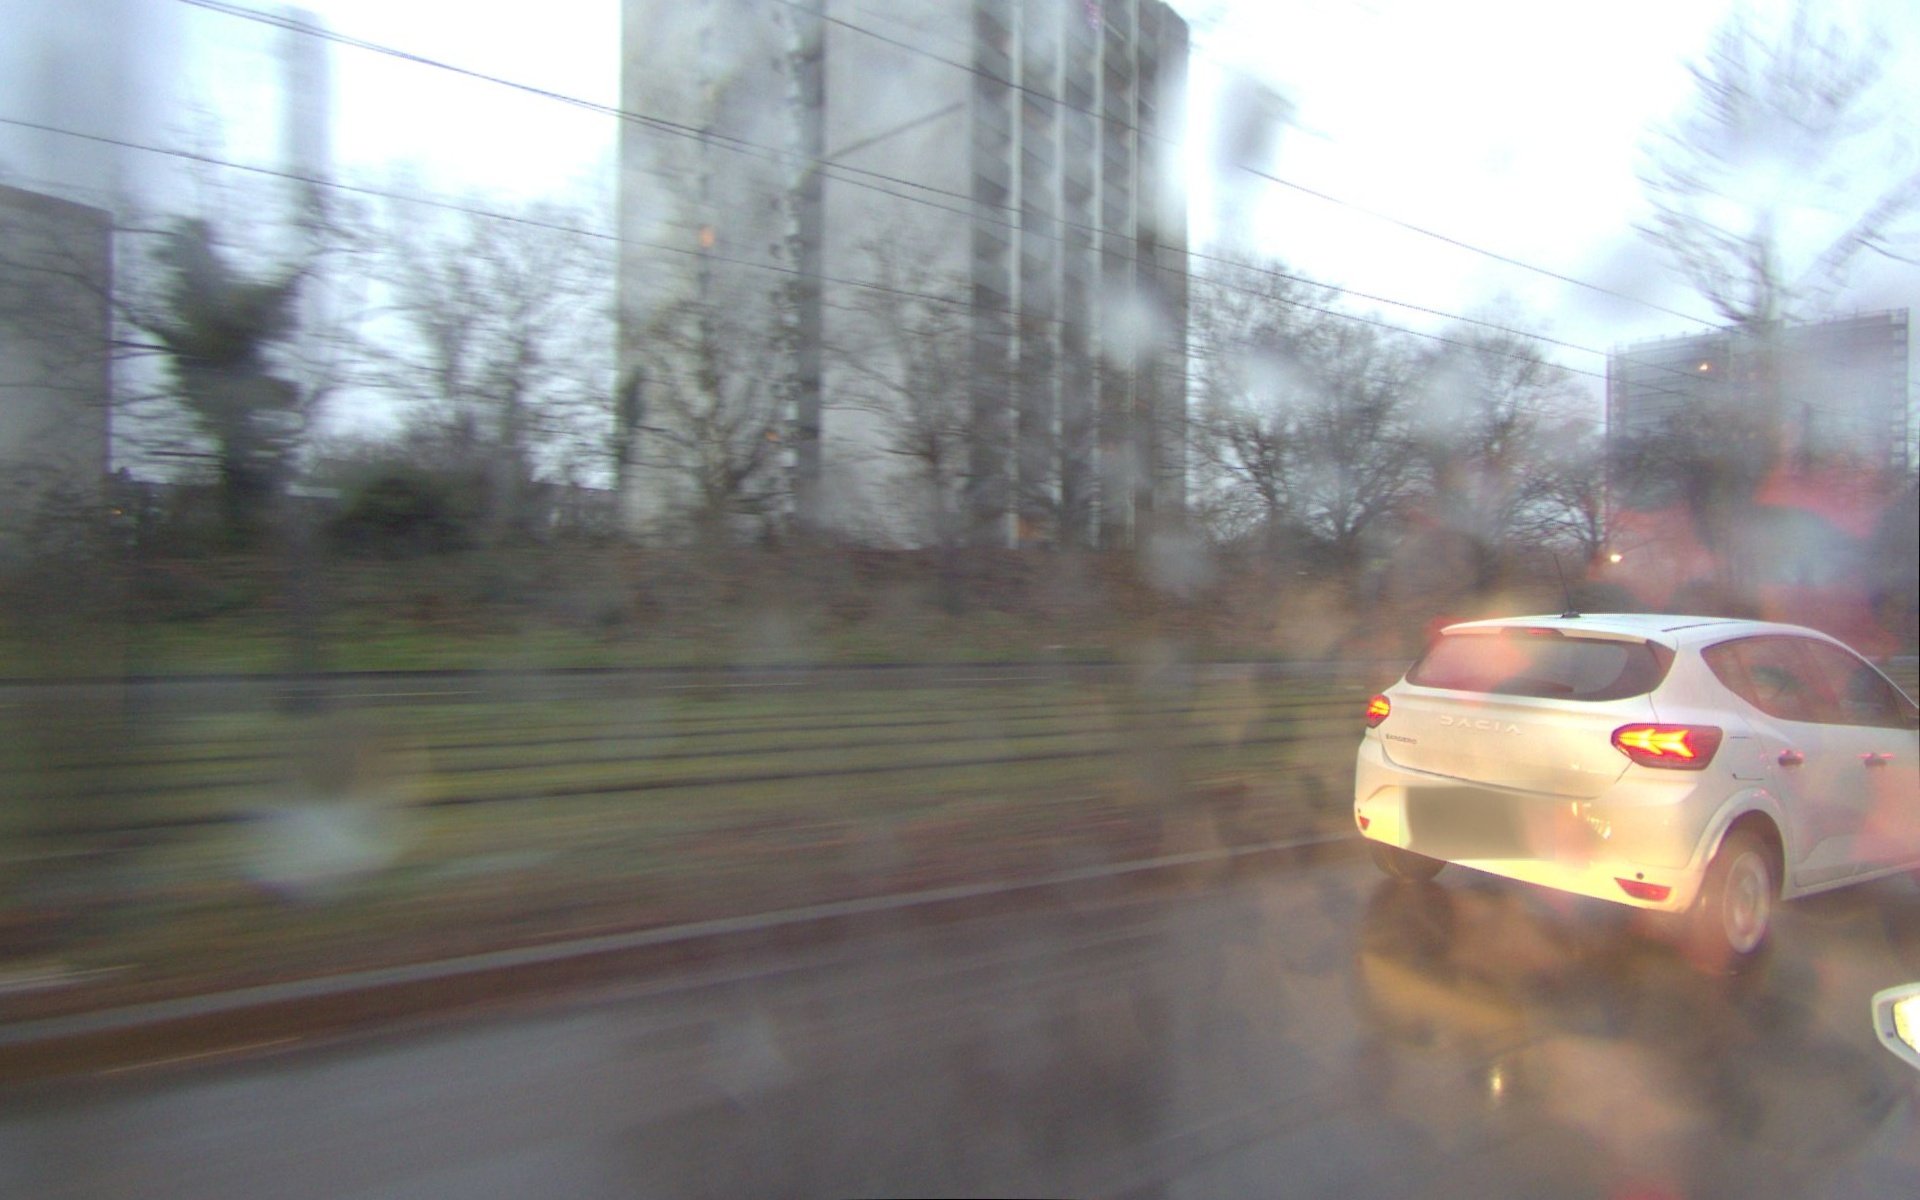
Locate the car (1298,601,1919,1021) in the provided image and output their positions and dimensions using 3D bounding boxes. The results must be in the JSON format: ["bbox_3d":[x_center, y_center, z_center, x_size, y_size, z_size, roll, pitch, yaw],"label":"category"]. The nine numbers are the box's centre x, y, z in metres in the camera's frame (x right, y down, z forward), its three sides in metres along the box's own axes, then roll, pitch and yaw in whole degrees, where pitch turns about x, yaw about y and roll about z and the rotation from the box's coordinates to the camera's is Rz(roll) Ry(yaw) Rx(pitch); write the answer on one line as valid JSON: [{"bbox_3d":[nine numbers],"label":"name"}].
[{"bbox_3d":[3.936,0.819,5.466,4.085,1.545,1.701,1,-1,-30],"label":"car"}]
